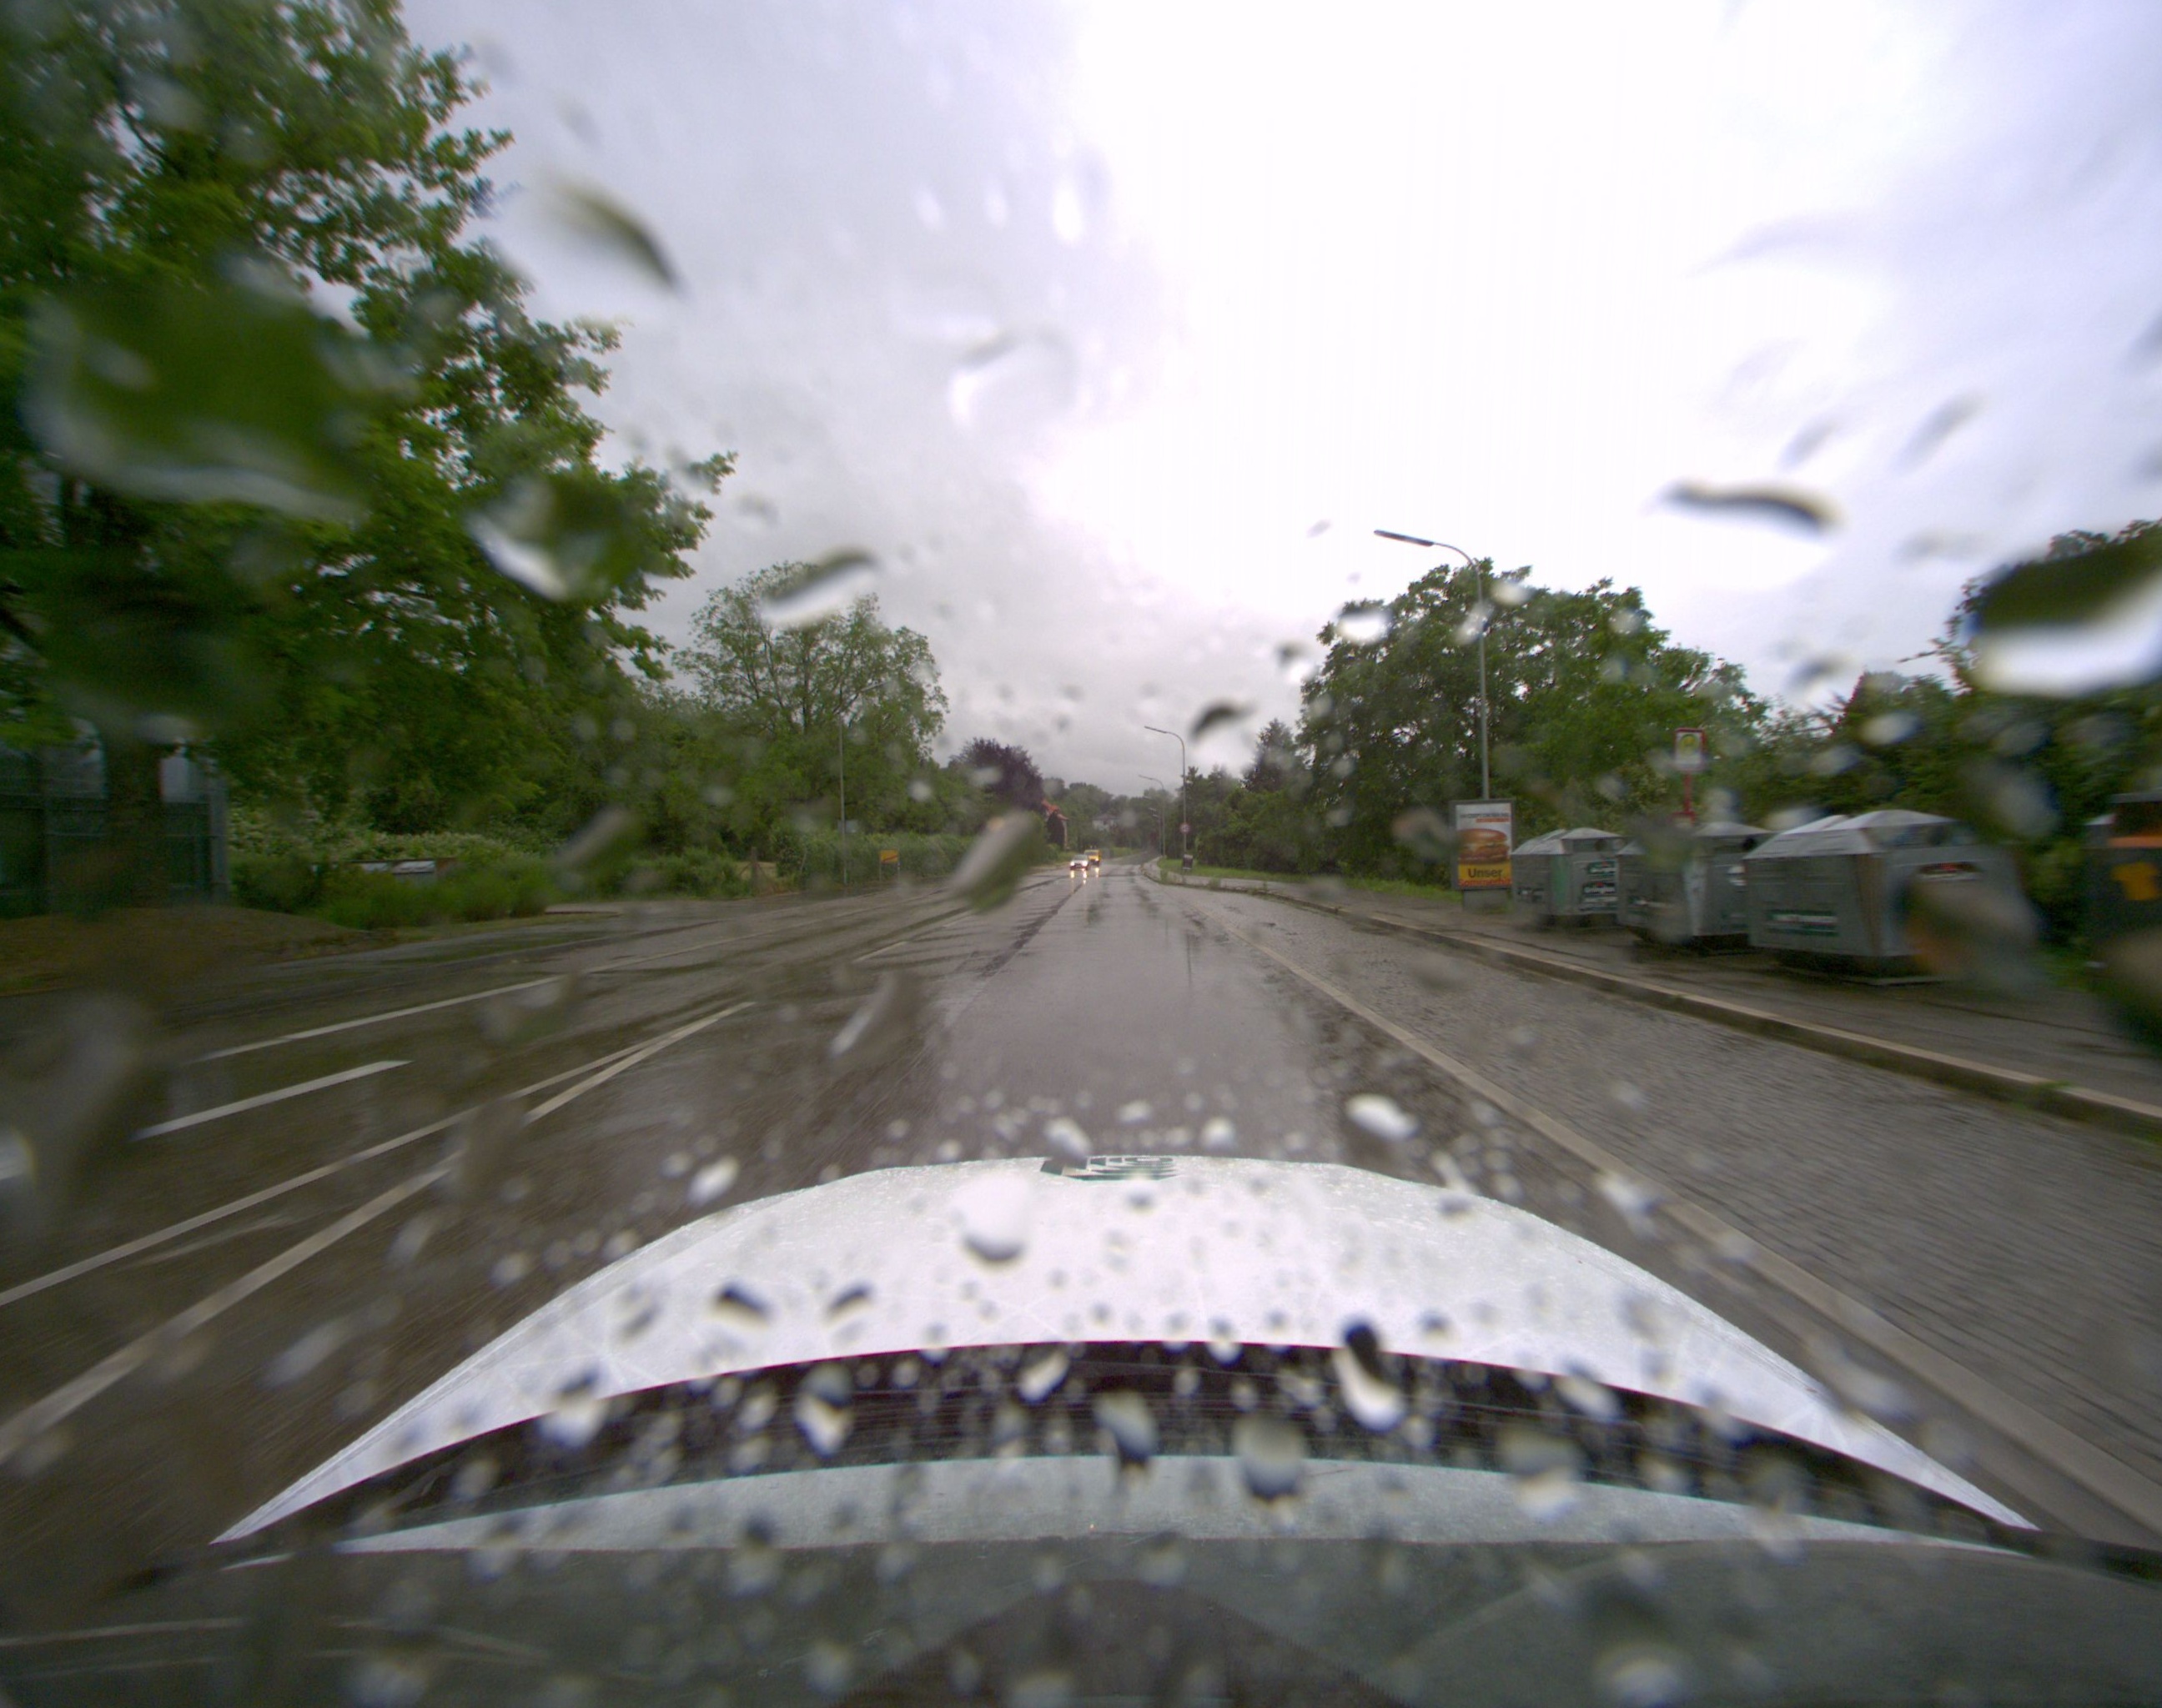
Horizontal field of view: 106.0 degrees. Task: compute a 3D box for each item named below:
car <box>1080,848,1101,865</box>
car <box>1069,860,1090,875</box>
[{"bbox_3d":[1.103,0.285,91.608,1.928,1.871,5.043,-1,0,5],"label":"car"},{"bbox_3d":[-0.152,1.199,75.005,1.694,1.349,3.908,-1,0,3],"label":"car"}]
